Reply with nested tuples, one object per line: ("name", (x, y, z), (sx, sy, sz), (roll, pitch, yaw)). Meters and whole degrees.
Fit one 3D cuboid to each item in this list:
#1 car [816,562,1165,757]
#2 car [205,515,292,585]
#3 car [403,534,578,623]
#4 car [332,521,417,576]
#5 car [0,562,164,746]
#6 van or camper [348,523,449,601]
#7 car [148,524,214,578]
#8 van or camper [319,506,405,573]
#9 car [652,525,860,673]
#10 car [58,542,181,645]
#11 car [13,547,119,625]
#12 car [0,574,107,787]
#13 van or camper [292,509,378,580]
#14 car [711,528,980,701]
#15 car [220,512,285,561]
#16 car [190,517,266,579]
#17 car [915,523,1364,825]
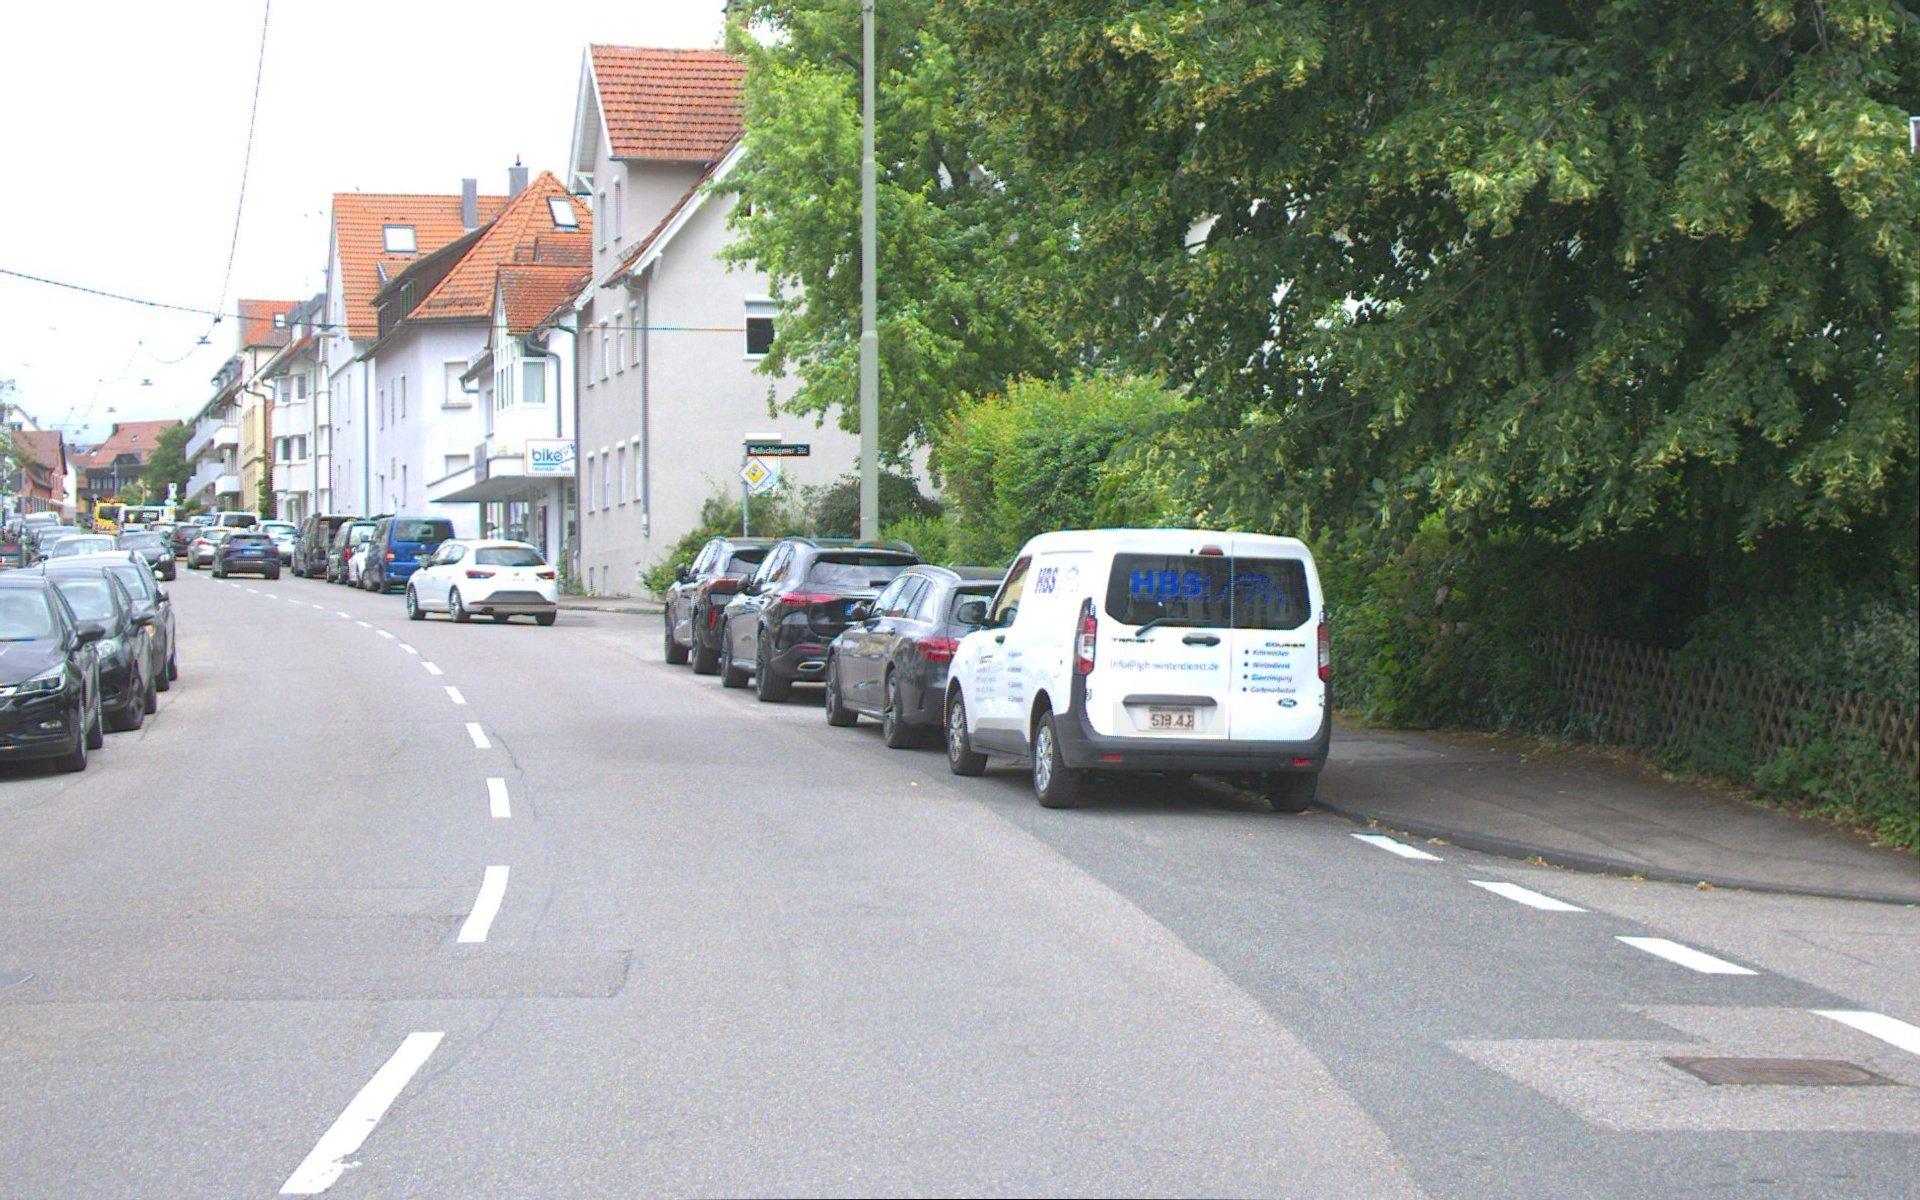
("car", (0.151, 0.424, 28.688), (1.993, 1.473, 4.621), (0, 1, -11))
("car", (-21.314, -1.506, 102.854), (2.151, 2.007, 4.001), (1, 1, -17))
("car", (-8.158, -0.387, 59.498), (1.940, 1.434, 4.001), (0, 1, -24))
("car", (-16.085, -1.426, 94.303), (1.713, 1.431, 4.641), (2, 1, -16))
("car", (-8.197, 0.452, 30.967), (1.762, 1.433, 4.079), (-4, 2, -11))
("van or camper", (-14.370, -0.995, 87.868), (1.926, 1.919, 4.832), (1, 1, -17))
("car", (-29.991, -1.896, 132.296), (2.151, 2.007, 4.001), (1, 1, -17))
("van or camper", (-17.274, -1.755, 99.215), (1.870, 1.822, 4.682), (2, 1, -16))
("car", (-2.484, -0.035, 40.827), (1.810, 1.610, 4.541), (1, 0, -11))
("car", (-13.292, -0.132, 54.416), (1.725, 1.453, 3.900), (-4, 2, -13))
("car", (-19.968, -0.336, 76.929), (1.833, 1.572, 4.032), (-3, 2, -9))
("car", (-7.490, 0.573, 26.130), (1.762, 1.433, 4.079), (-2, 2, -12))
("van or camper", (-19.466, -1.755, 106.900), (1.993, 2.058, 5.947), (2, 1, -16))
("car", (-1.252, 0.115, 35.319), (1.993, 1.610, 4.541), (1, 0, -11))
("car", (-26.329, -2.364, 127.825), (1.940, 1.687, 4.001), (2, 1, -17))
("car", (-24.840, -1.769, 116.587), (2.151, 2.007, 4.001), (1, 1, -17))
("car", (1.085, 0.418, 23.164), (1.837, 1.768, 4.319), (2, 1, -13))
